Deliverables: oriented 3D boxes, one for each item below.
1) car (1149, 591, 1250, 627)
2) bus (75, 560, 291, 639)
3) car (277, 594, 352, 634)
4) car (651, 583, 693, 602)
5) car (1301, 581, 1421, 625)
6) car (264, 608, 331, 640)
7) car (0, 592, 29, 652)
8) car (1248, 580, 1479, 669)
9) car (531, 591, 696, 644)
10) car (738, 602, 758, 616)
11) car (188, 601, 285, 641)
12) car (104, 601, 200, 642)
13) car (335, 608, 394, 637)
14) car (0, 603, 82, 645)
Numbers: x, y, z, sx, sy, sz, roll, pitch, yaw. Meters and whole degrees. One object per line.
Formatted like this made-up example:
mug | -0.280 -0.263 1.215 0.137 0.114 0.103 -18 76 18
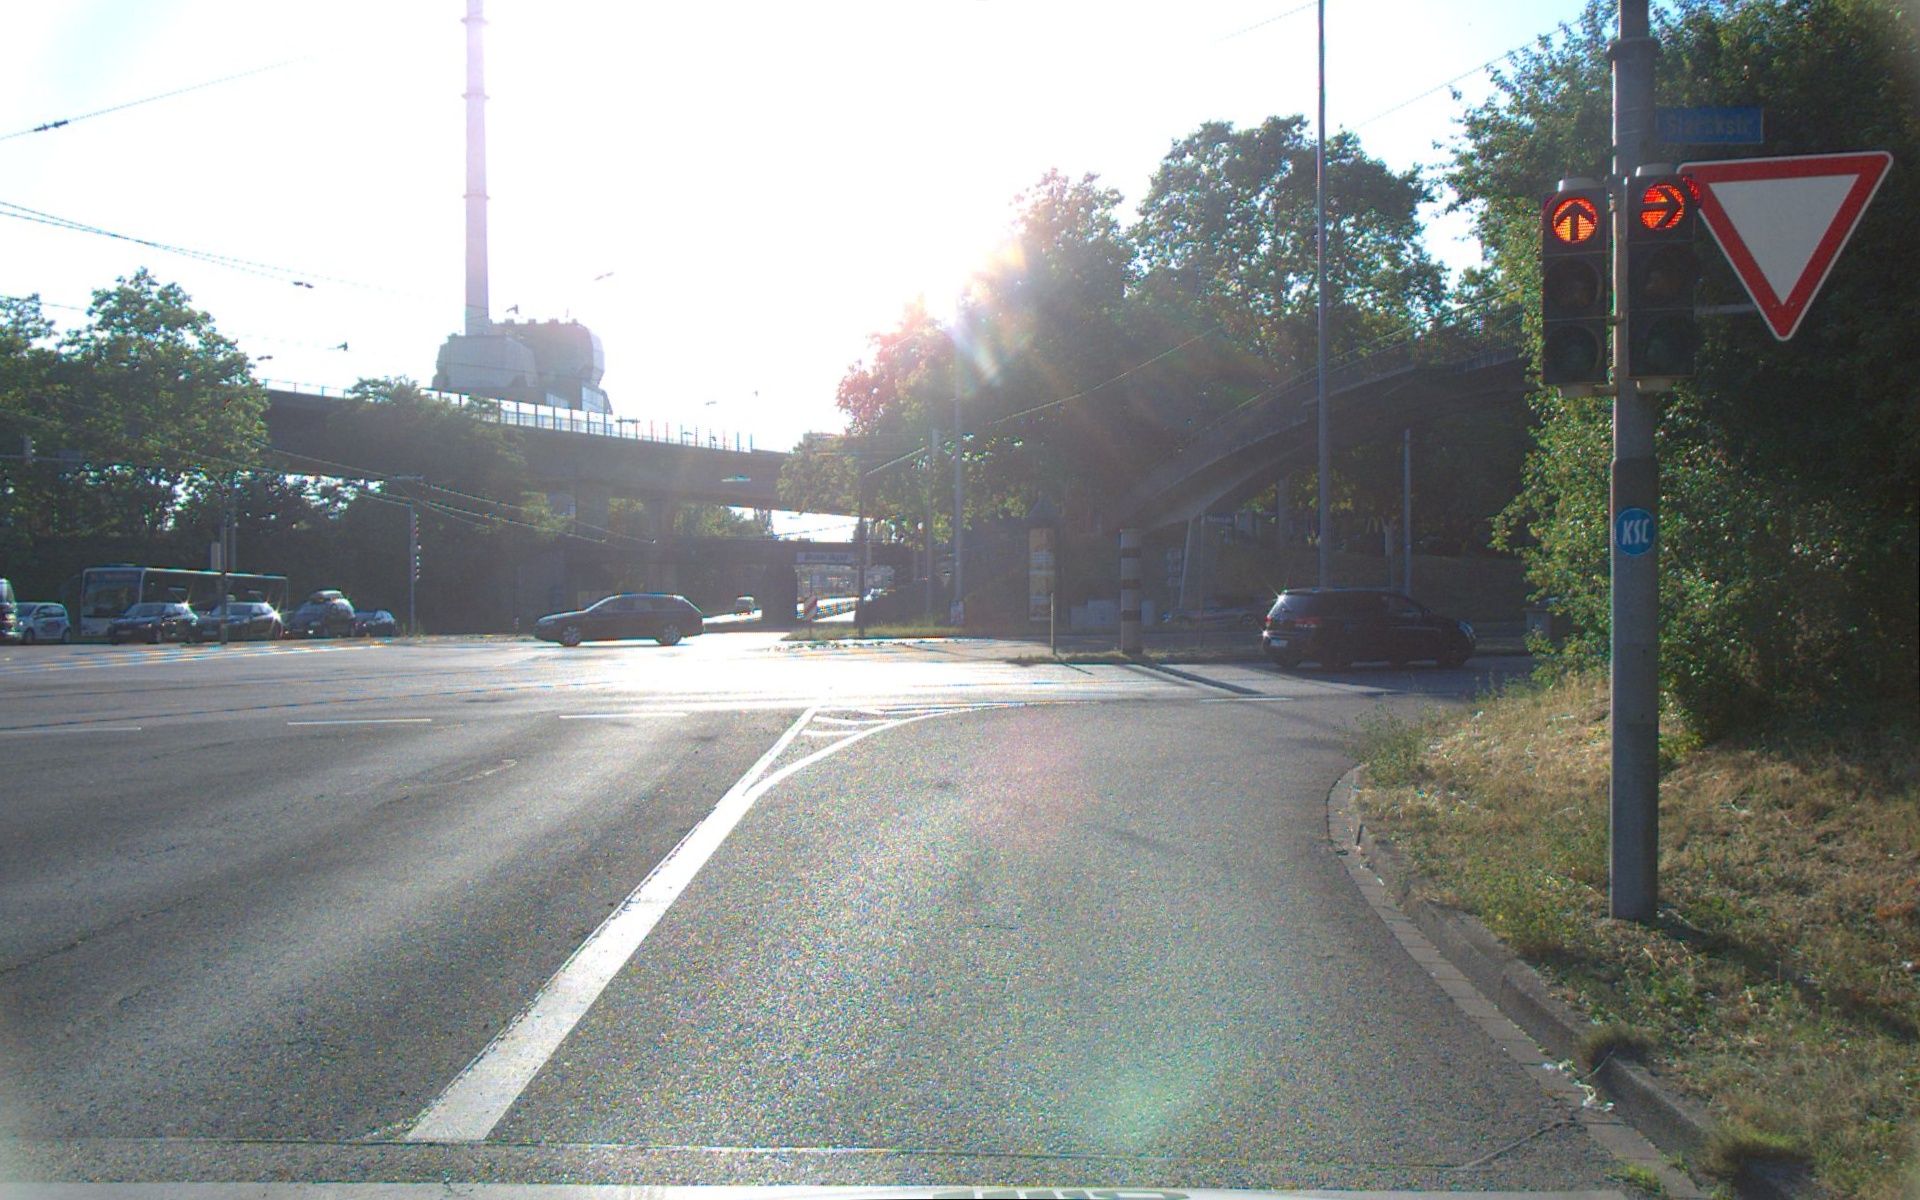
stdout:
car | 9.831 0.368 67.844 4.049 1.447 1.698 0 0 10
bus | -32.121 -0.023 69.288 2.764 3.006 12.855 0 0 1
car | -28.269 0.602 72.524 1.676 1.681 4.095 0 0 0
car | -28.577 -0.783 164.421 1.957 1.802 3.991 1 0 31
car | 13.634 0.112 56.241 3.666 1.447 1.687 0 0 -20
car | -32.007 1.128 80.005 1.665 1.467 4.000 0 0 0
car | -28.700 0.596 46.097 4.449 1.651 1.990 0 0 -18
car | 7.360 0.424 30.164 3.850 1.544 1.723 0 0 -23
car | -9.994 0.486 47.631 4.451 1.479 1.989 0 0 -19
car | -25.014 1.054 195.306 1.675 1.681 4.096 0 0 2
car | -25.735 0.722 58.977 1.676 1.378 4.095 0 0 0
car | -28.504 0.732 58.493 1.572 1.378 3.998 0 0 -3
car | -31.221 1.168 86.790 1.665 1.467 4.000 0 0 0
car | -32.134 0.812 57.314 1.572 1.378 3.732 0 0 -3
